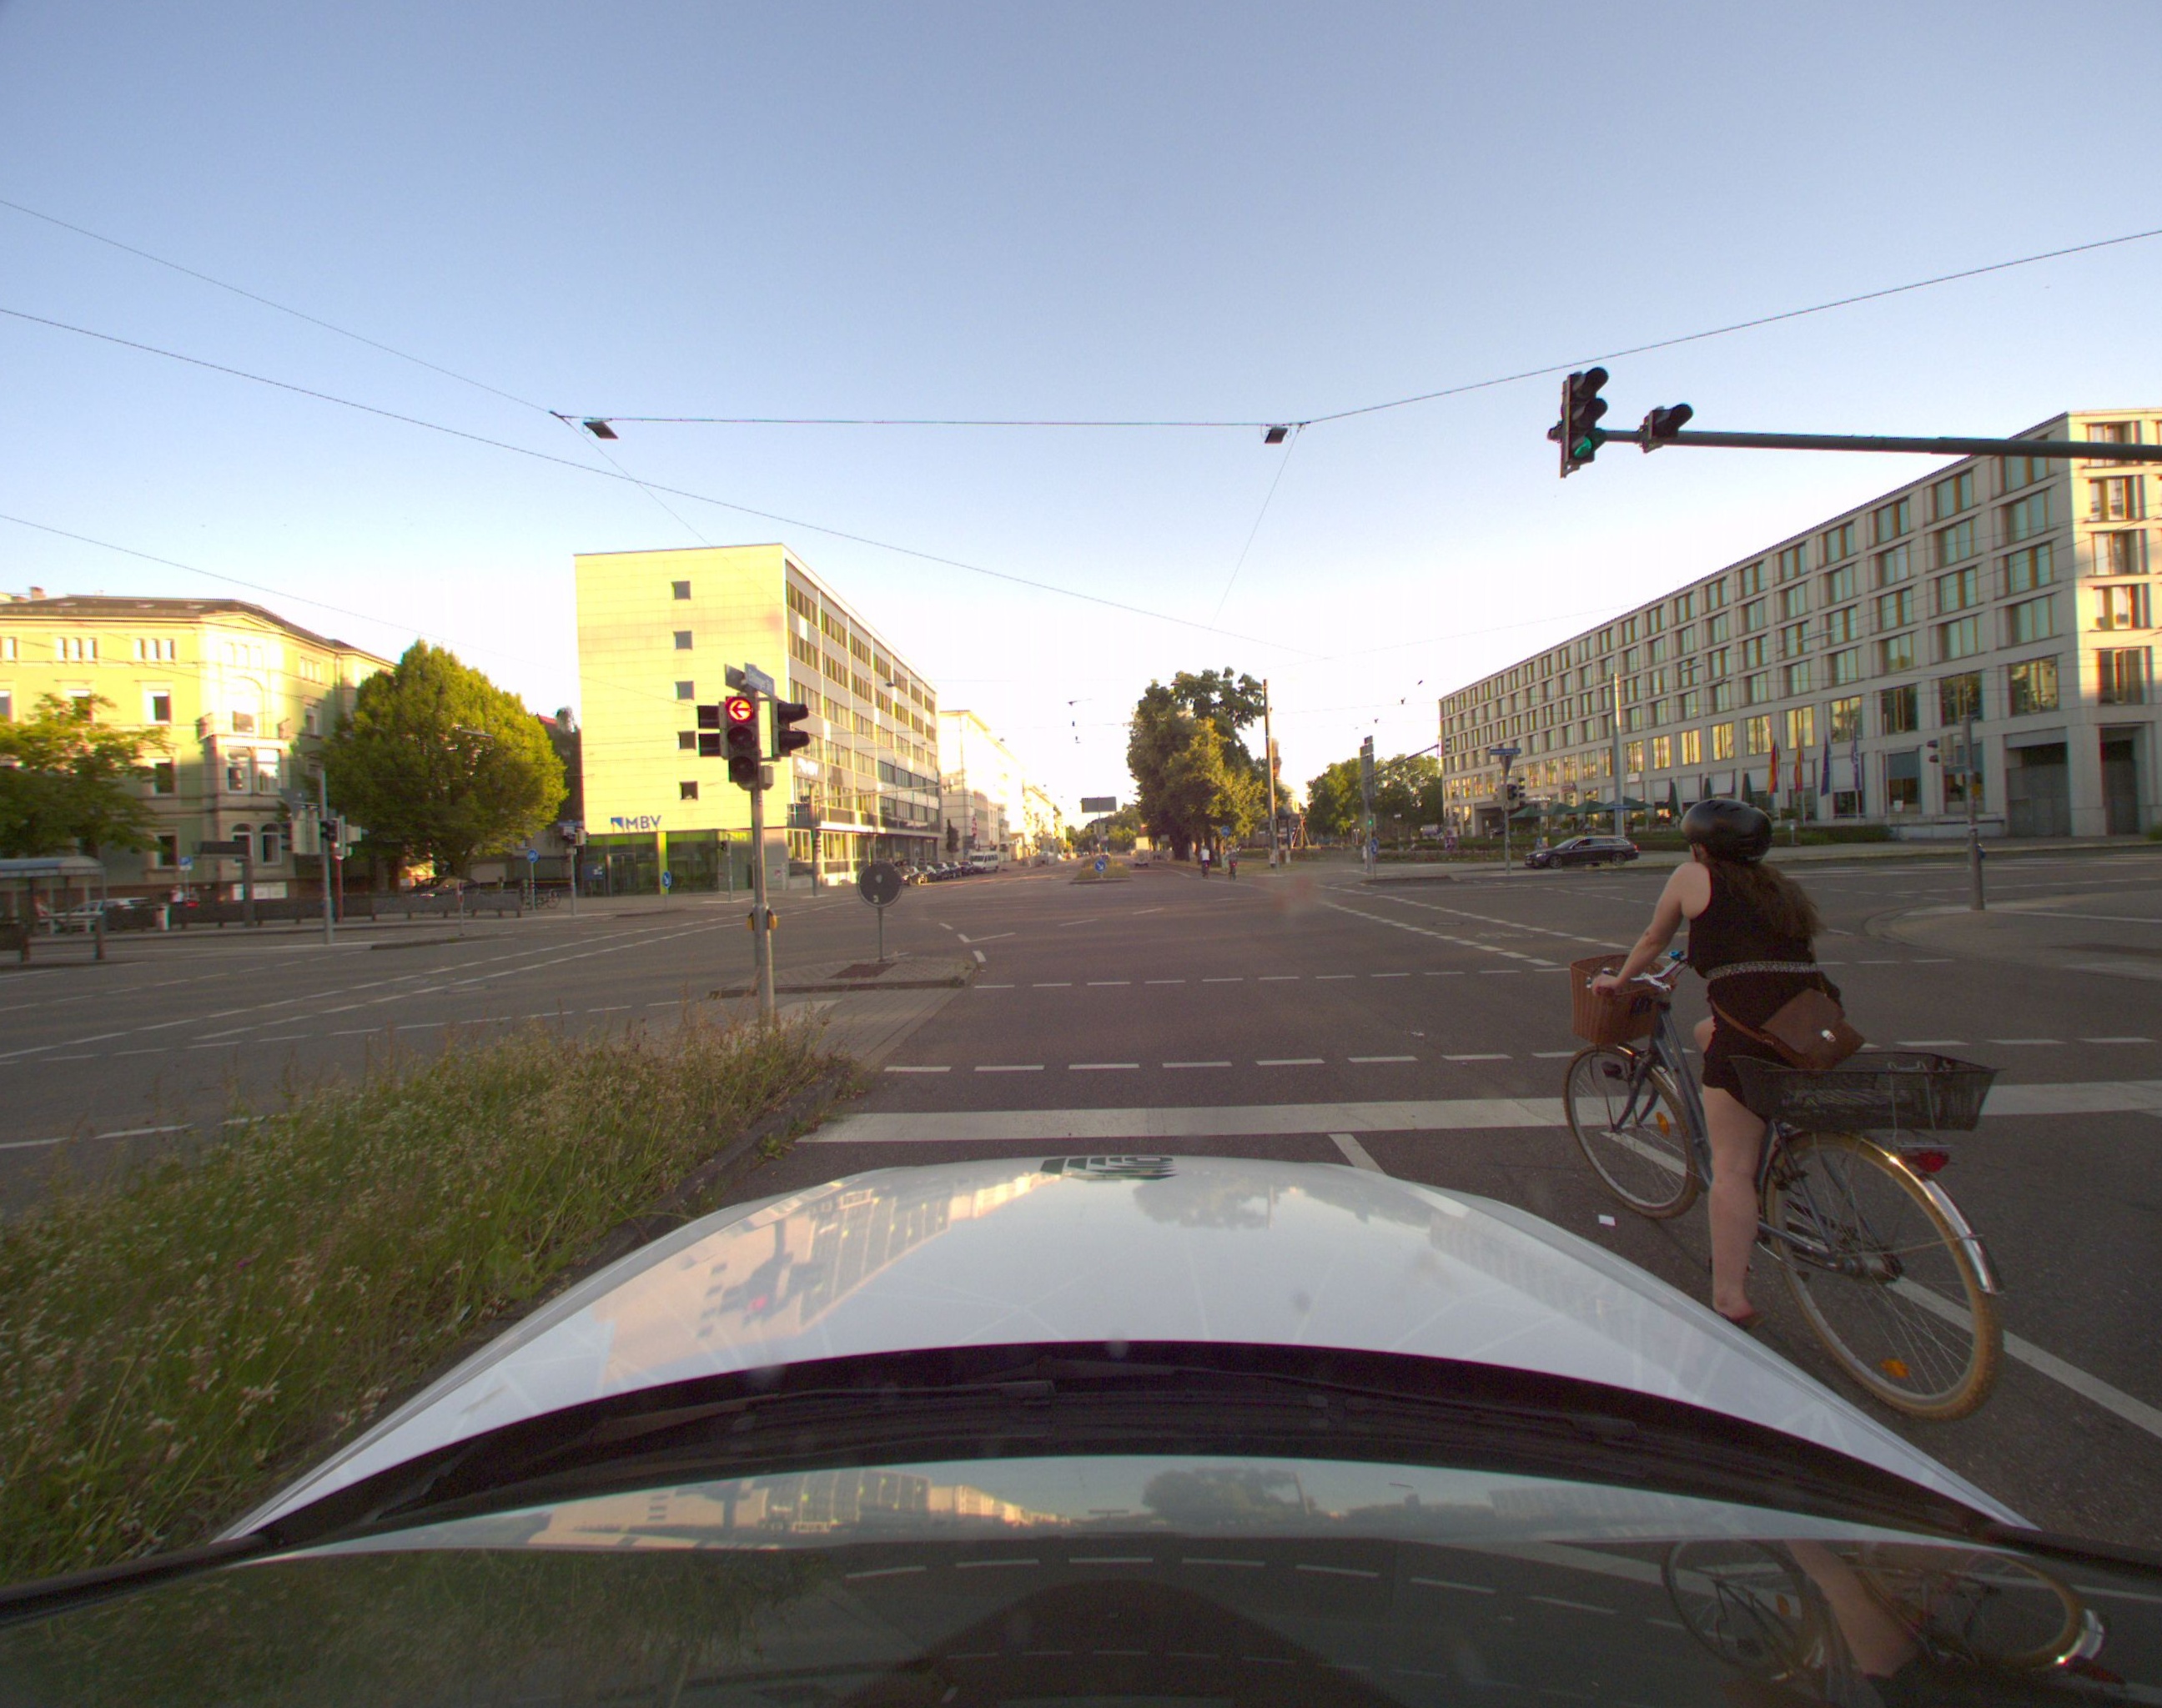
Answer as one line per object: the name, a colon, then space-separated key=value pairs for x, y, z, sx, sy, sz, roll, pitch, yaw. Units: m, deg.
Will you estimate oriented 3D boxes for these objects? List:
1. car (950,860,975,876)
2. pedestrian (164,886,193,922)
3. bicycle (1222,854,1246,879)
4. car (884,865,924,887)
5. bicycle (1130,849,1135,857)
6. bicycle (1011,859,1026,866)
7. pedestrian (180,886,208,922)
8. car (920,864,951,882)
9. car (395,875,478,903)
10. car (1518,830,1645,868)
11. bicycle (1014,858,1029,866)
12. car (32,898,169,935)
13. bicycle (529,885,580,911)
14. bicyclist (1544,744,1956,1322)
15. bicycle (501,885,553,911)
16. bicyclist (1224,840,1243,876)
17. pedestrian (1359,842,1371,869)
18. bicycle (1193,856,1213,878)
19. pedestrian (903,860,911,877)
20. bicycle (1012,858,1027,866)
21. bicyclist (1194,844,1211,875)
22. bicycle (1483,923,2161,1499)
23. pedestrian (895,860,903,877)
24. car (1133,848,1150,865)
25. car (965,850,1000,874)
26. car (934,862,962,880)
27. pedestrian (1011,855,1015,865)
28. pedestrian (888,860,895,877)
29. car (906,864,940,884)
car: x=-12.382 y=1.454 z=85.248 sx=1.913 sy=1.568 sz=4.002 roll=-3 pitch=0 yaw=2
pedestrian: x=-46.295 y=2.546 z=41.802 sx=0.641 sy=1.790 sz=0.720 roll=-3 pitch=0 yaw=-12
bicycle: x=7.560 y=0.587 z=40.334 sx=0.744 sy=1.144 sz=2.506 roll=-3 pitch=0 yaw=2
car: x=-13.507 y=1.665 z=62.363 sx=1.913 sy=1.464 sz=4.105 roll=-3 pitch=0 yaw=2
bicycle: x=13.110 y=-0.213 z=207.994 sx=0.997 sy=2.013 sz=4.007 roll=-3 pitch=0 yaw=6
bicycle: x=-9.709 y=1.315 z=125.921 sx=2.198 sy=1.112 sz=0.619 roll=-3 pitch=0 yaw=0
pedestrian: x=-46.387 y=2.596 z=42.578 sx=0.641 sy=1.790 sz=0.720 roll=-3 pitch=0 yaw=-12
car: x=-13.102 y=1.690 z=73.724 sx=1.913 sy=1.464 sz=4.002 roll=-3 pitch=0 yaw=2
car: x=-36.749 y=1.953 z=46.544 sx=1.830 sy=1.372 sz=3.594 roll=-3 pitch=0 yaw=0
car: x=24.003 y=-0.236 z=39.172 sx=4.803 sy=1.515 sz=2.002 roll=-3 pitch=0 yaw=4
bicycle: x=-9.484 y=1.270 z=129.336 sx=2.198 sy=1.236 sz=0.839 roll=-3 pitch=0 yaw=0
car: x=-45.242 y=2.847 z=37.670 sx=3.588 sy=1.372 sz=1.833 roll=-3 pitch=0 yaw=-15
bicycle: x=-25.730 y=2.138 z=39.823 sx=0.832 sy=1.112 sz=2.216 roll=-3 pitch=0 yaw=6
bicyclist: x=2.184 y=0.509 z=2.814 sx=0.597 sy=1.636 sz=0.999 roll=-1 pitch=0 yaw=2
bicycle: x=-27.086 y=2.155 z=39.879 sx=0.832 sy=1.112 sz=2.216 roll=-3 pitch=0 yaw=6
bicyclist: x=7.539 y=0.192 z=40.342 sx=0.744 sy=1.691 sz=0.799 roll=-3 pitch=0 yaw=1
pedestrian: x=16.281 y=0.071 z=46.681 sx=0.489 sy=1.540 sz=0.408 roll=-3 pitch=0 yaw=1
bicycle: x=6.684 y=0.715 z=44.736 sx=0.744 sy=1.144 sz=2.506 roll=-3 pitch=0 yaw=2
pedestrian: x=-16.762 y=1.393 z=78.546 sx=0.549 sy=1.679 sz=0.500 roll=-3 pitch=0 yaw=1
bicycle: x=-9.556 y=1.297 z=127.234 sx=2.198 sy=1.112 sz=0.689 roll=-3 pitch=0 yaw=0
bicyclist: x=6.628 y=0.281 z=44.431 sx=0.744 sy=1.663 sz=0.873 roll=-3 pitch=0 yaw=1
bicycle: x=2.188 y=0.900 z=2.857 sx=0.609 sy=1.132 sz=2.005 roll=-1 pitch=0 yaw=2
pedestrian: x=-17.596 y=1.406 z=78.865 sx=0.549 sy=1.679 sz=0.500 roll=-3 pitch=0 yaw=1
car: x=5.981 y=0.257 z=80.921 sx=1.403 sy=1.641 sz=4.000 roll=-3 pitch=0 yaw=1
car: x=-11.055 y=0.875 z=91.683 sx=1.988 sy=2.478 sz=5.888 roll=-3 pitch=0 yaw=12
car: x=-12.850 y=1.581 z=79.026 sx=1.913 sy=1.568 sz=4.002 roll=-3 pitch=0 yaw=2
pedestrian: x=-13.896 y=1.157 z=165.542 sx=0.677 sy=2.013 sz=0.545 roll=-3 pitch=0 yaw=1
pedestrian: x=-18.277 y=1.401 z=78.566 sx=0.549 sy=1.679 sz=0.500 roll=-3 pitch=0 yaw=1
car: x=-13.310 y=1.652 z=68.911 sx=1.913 sy=1.464 sz=4.002 roll=-3 pitch=0 yaw=2
